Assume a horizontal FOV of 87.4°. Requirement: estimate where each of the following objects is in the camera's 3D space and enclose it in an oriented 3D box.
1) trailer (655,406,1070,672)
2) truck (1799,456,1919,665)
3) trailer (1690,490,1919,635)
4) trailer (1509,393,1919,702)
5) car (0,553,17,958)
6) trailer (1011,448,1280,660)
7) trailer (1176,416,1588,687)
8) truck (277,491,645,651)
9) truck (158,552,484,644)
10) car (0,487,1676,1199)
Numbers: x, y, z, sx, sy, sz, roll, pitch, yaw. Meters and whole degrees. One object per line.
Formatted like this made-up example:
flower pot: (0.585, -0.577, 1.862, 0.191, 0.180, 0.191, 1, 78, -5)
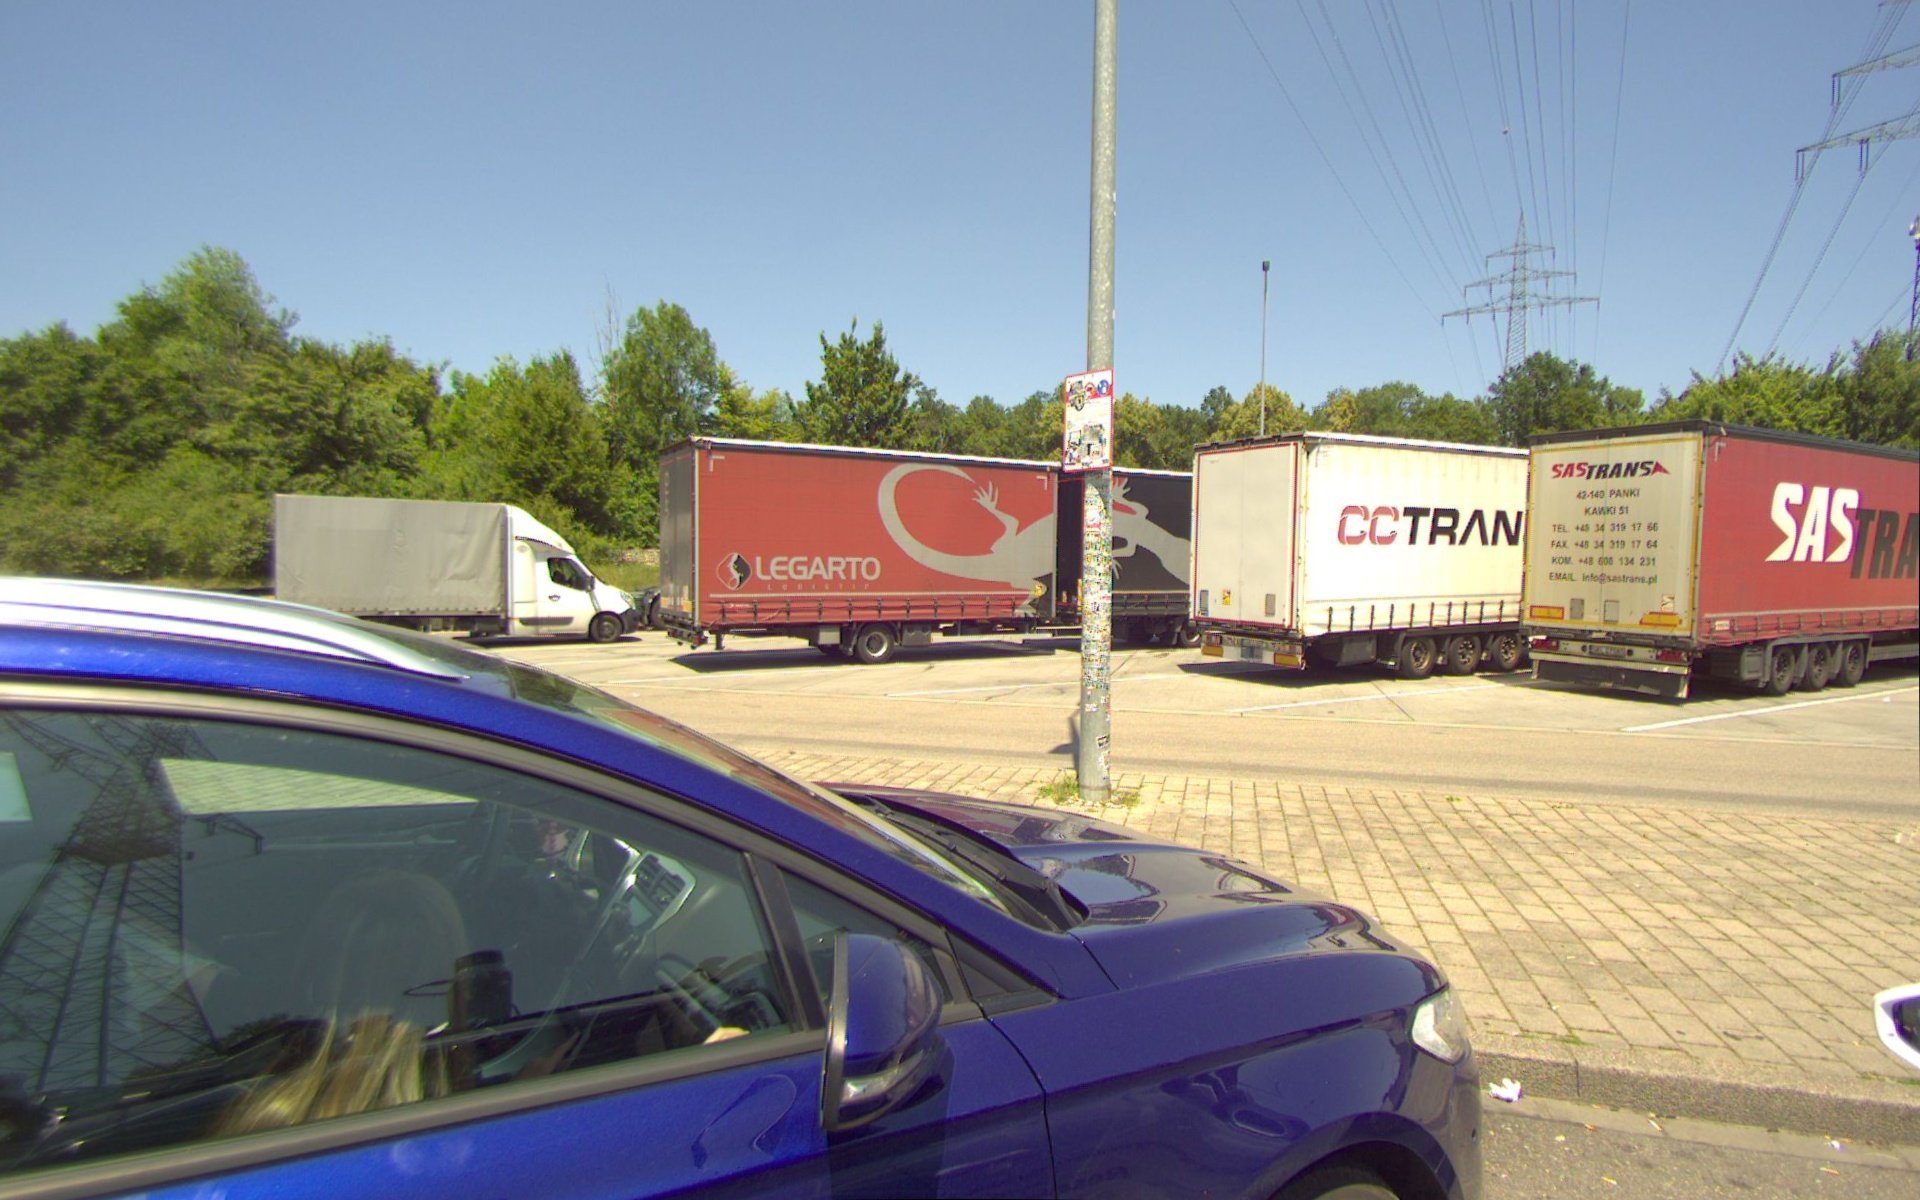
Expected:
trailer: (-1.782, -1.015, 20.207, 7.963, 4.510, 2.648, 0, 0, -31)
truck: (21.445, -0.784, 22.072, 5.824, 4.189, 2.792, 0, 0, -30)
trailer: (26.846, -1.085, 30.025, 7.727, 4.121, 2.265, 2, 0, 14)
trailer: (15.262, -0.701, 18.438, 13.046, 4.276, 2.786, 0, 0, -31)
car: (-4.332, 0.516, 2.184, 3.077, 1.378, 1.334, 1, 0, -30)
trailer: (4.492, -0.966, 24.063, 6.076, 4.505, 2.665, 0, 0, -30)
trailer: (8.105, -0.757, 18.876, 8.189, 4.208, 2.741, 0, 1, -30)
truck: (-11.055, -0.564, 22.779, 7.171, 3.194, 2.160, 0, 1, -30)
truck: (-15.395, -0.028, 24.717, 6.538, 2.040, 1.984, 0, 0, -30)
car: (-1.019, 0.638, 1.463, 4.362, 1.437, 1.731, 1, 0, -30)
